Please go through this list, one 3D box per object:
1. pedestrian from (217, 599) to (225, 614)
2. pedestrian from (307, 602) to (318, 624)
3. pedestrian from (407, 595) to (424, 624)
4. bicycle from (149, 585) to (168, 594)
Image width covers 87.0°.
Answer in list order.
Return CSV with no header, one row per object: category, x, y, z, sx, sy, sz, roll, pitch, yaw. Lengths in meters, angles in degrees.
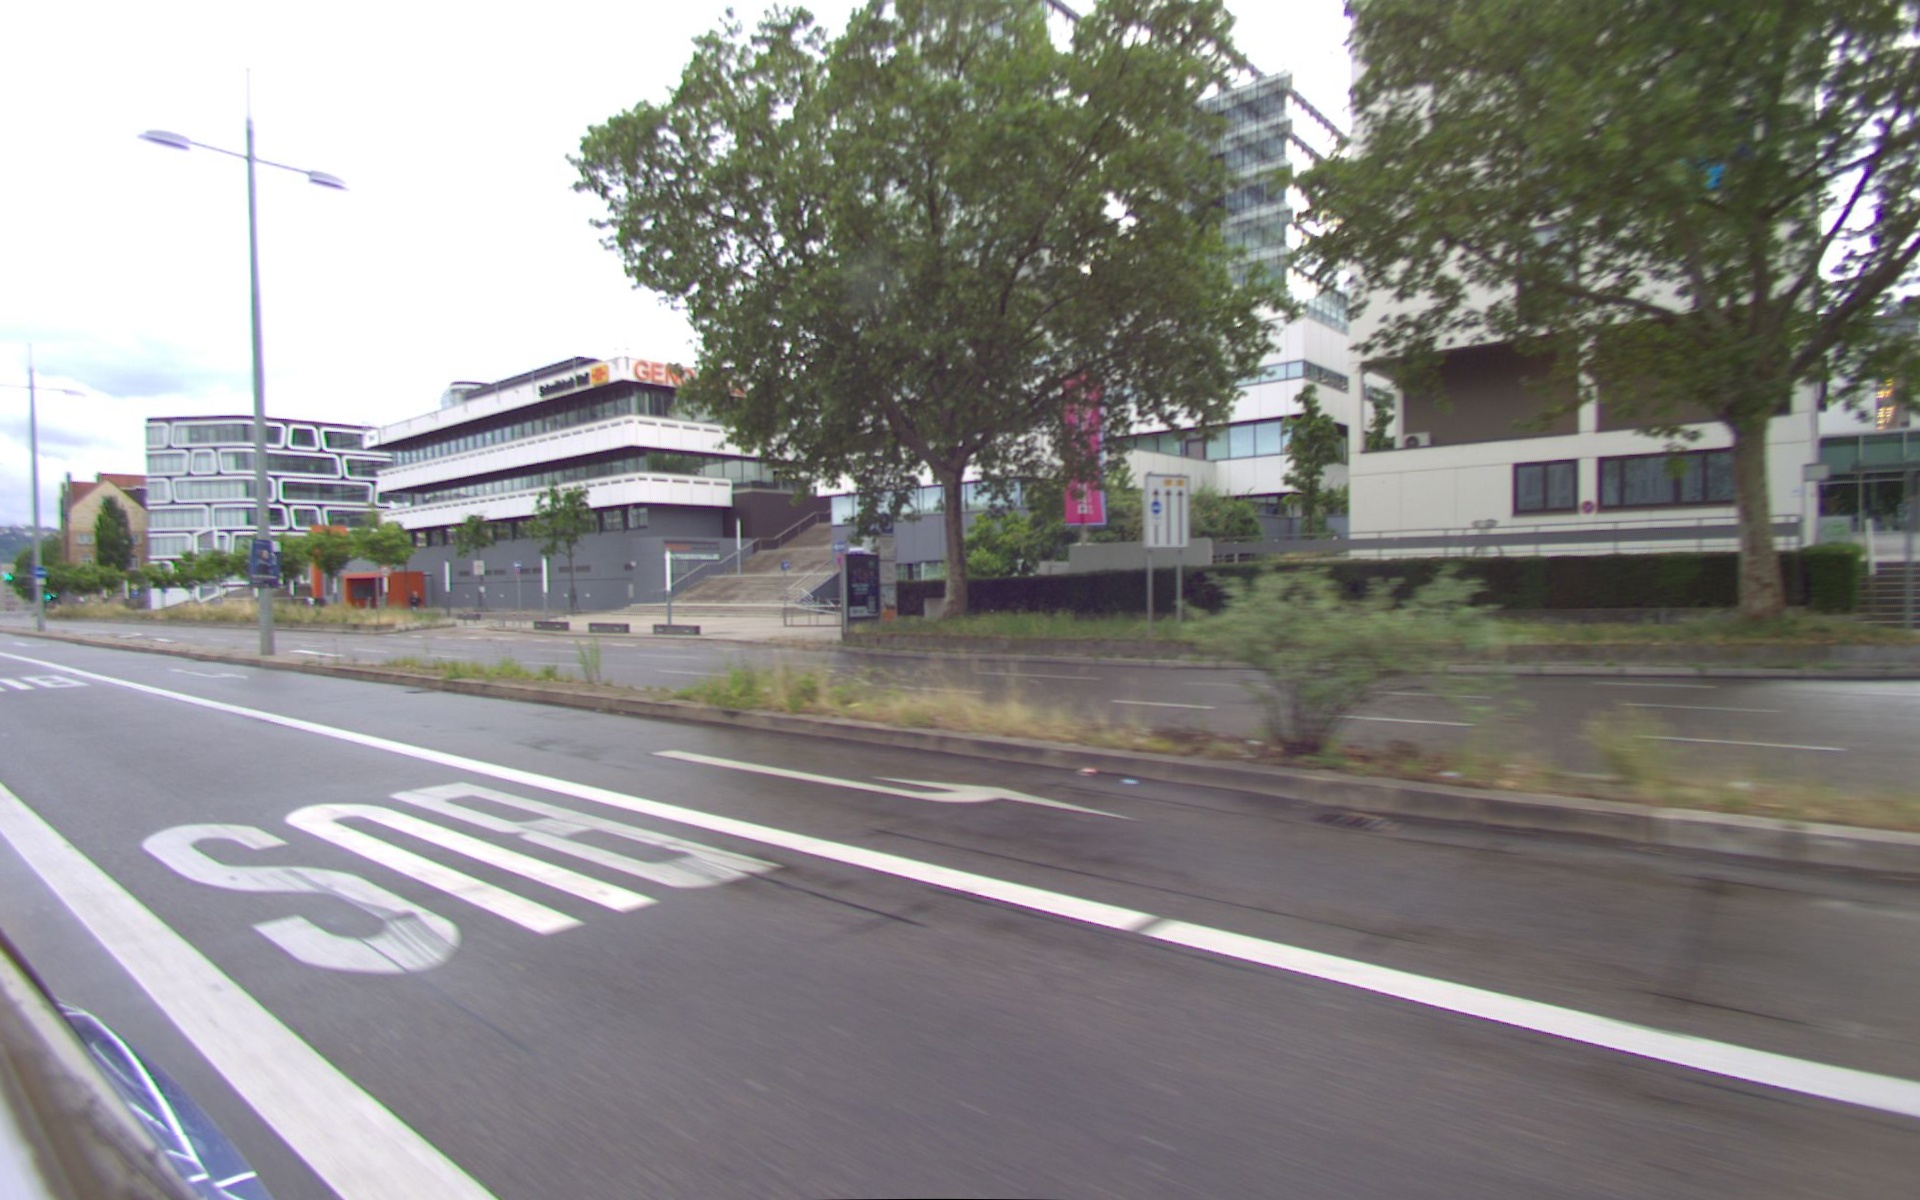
pedestrian,-81.070,0.736,111.001,0.640,1.623,0.604,1,3,45
pedestrian,-53.165,1.047,83.112,0.628,1.821,0.623,0,1,42
pedestrian,-35.056,0.592,65.188,0.628,1.821,0.776,0,1,42
bicycle,-80.510,-1.073,101.655,1.638,0.864,0.608,0,1,9
